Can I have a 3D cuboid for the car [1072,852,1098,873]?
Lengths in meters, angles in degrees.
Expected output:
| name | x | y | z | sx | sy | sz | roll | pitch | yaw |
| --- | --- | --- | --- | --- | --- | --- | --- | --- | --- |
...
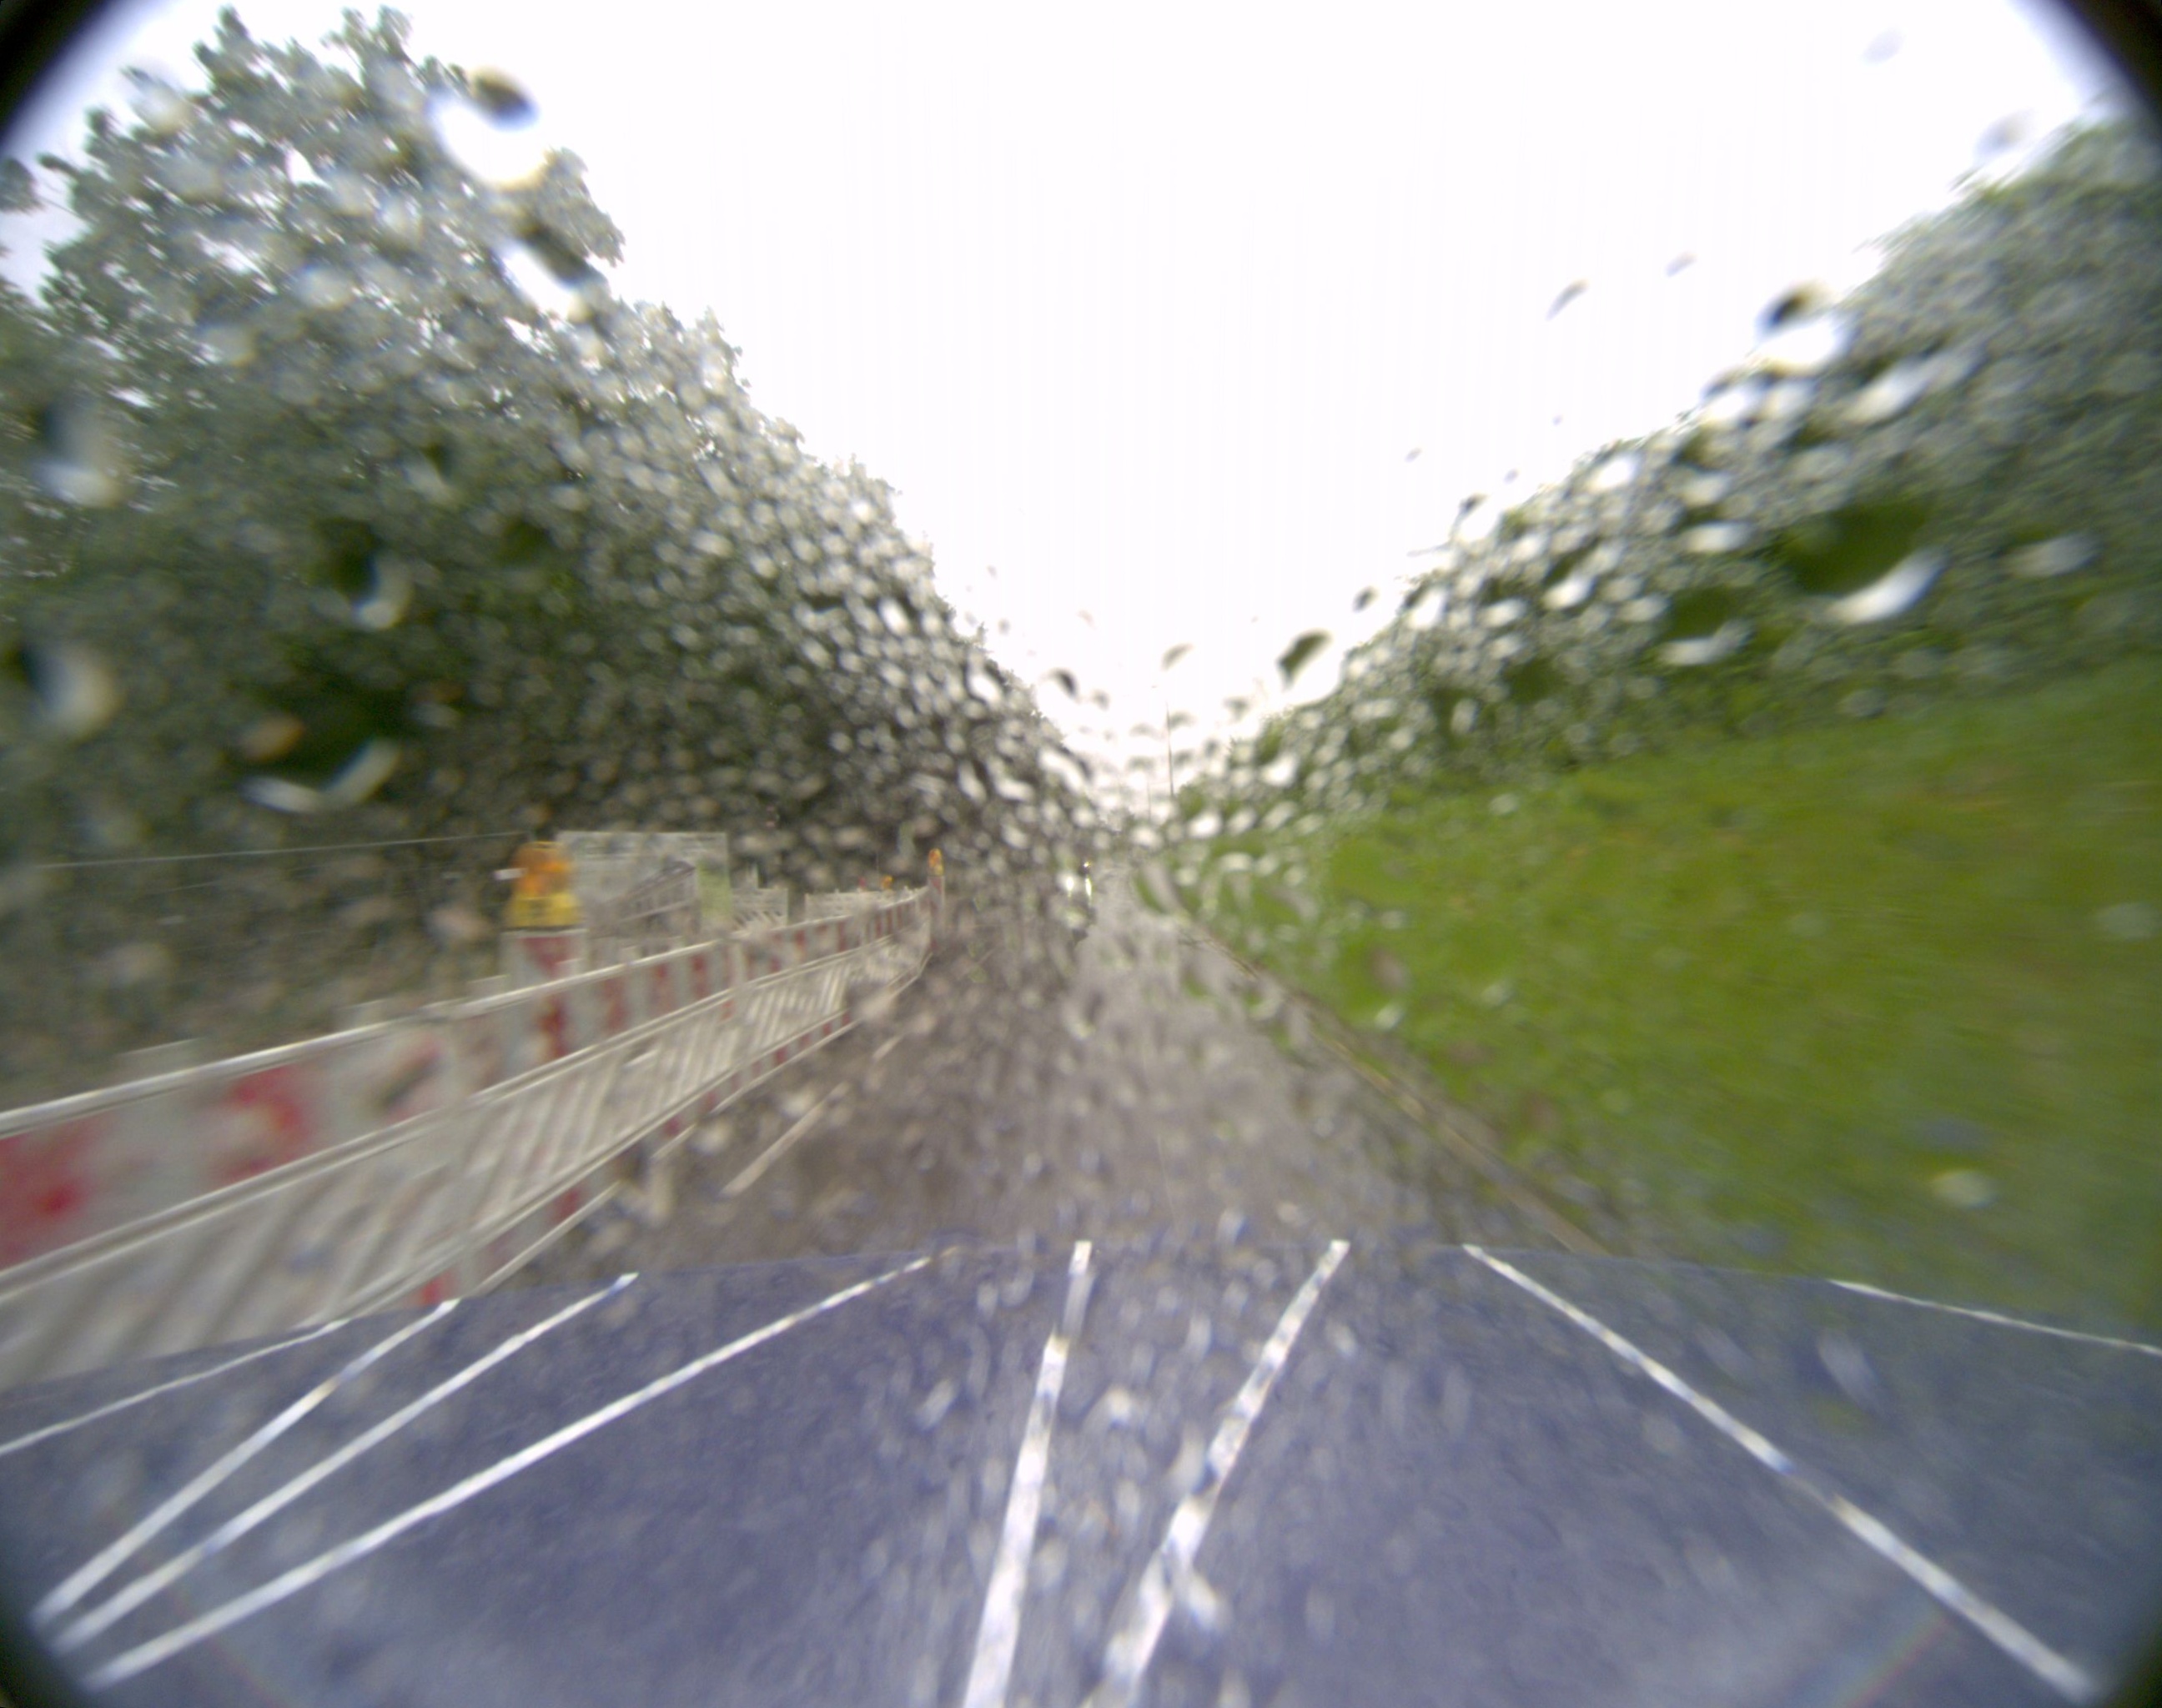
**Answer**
| name | x | y | z | sx | sy | sz | roll | pitch | yaw |
| --- | --- | --- | --- | --- | --- | --- | --- | --- | --- |
| car | 0.346 | 0.637 | 60.263 | 1.798 | 1.543 | 4.001 | 0 | 0 | 5 |
